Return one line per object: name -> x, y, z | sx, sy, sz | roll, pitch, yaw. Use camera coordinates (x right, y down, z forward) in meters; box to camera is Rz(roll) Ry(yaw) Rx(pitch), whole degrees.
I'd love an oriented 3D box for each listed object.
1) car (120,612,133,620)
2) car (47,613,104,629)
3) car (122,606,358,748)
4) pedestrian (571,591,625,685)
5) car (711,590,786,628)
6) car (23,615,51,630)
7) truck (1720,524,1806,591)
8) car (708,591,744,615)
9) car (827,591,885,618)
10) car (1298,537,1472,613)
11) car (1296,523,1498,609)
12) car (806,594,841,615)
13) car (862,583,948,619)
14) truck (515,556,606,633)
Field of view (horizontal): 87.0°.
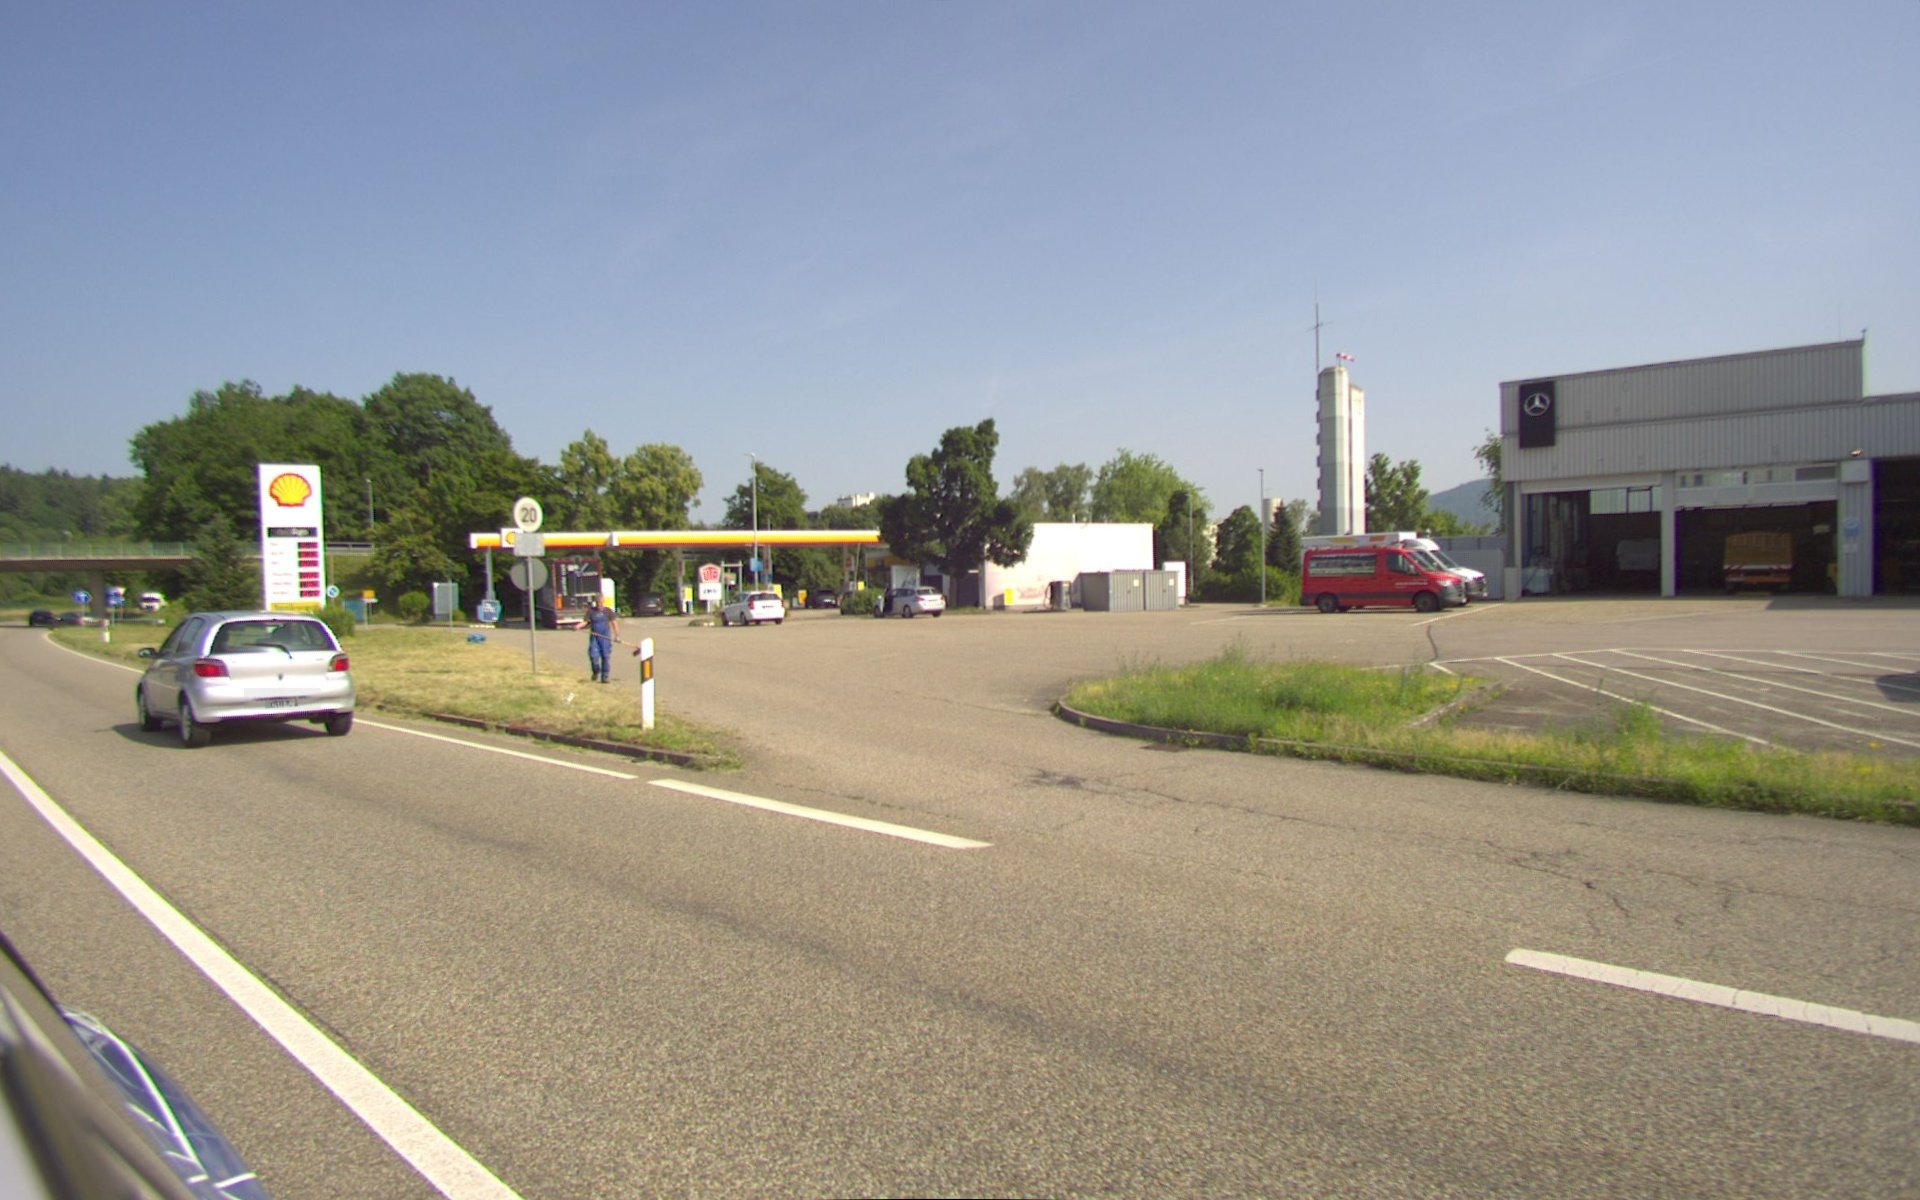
car -> -144.024, 2.763, 174.830 | 1.657, 1.366, 3.928 | 1, -1, -41
car -> -67.848, 1.619, 77.624 | 4.075, 1.181, 1.794 | -1, -1, 24
car -> -8.938, 0.843, 12.463 | 3.707, 1.484, 1.659 | -1, -1, 43
pedestrian -> -6.797, 0.685, 18.970 | 0.835, 1.702, 1.148 | 0, 0, -25
car -> -9.424, 0.397, 44.758 | 1.692, 1.578, 4.671 | -1, 0, -32
car -> -86.996, 2.080, 95.383 | 3.922, 1.366, 1.659 | -1, -1, 43
truck -> 31.437, -1.547, 39.777 | 2.448, 2.375, 6.813 | 0, 0, 38
car -> -17.071, 0.218, 73.718 | 1.877, 1.654, 4.013 | -2, 1, -22
car -> -6.347, 0.235, 62.217 | 1.709, 1.578, 4.286 | -1, 0, 22
car -> 14.670, -0.806, 35.102 | 5.218, 2.404, 1.862 | -1, 0, 40
car -> 16.292, -1.168, 37.969 | 6.522, 2.877, 2.371 | -1, 0, 40
car -> -10.196, 0.349, 75.361 | 1.966, 1.470, 4.012 | -2, 1, -16
car -> -2.650, 0.076, 47.769 | 1.693, 1.578, 4.666 | -1, 0, -38
truck -> -25.071, -0.280, 62.719 | 3.010, 4.165, 16.825 | 0, 0, -29
